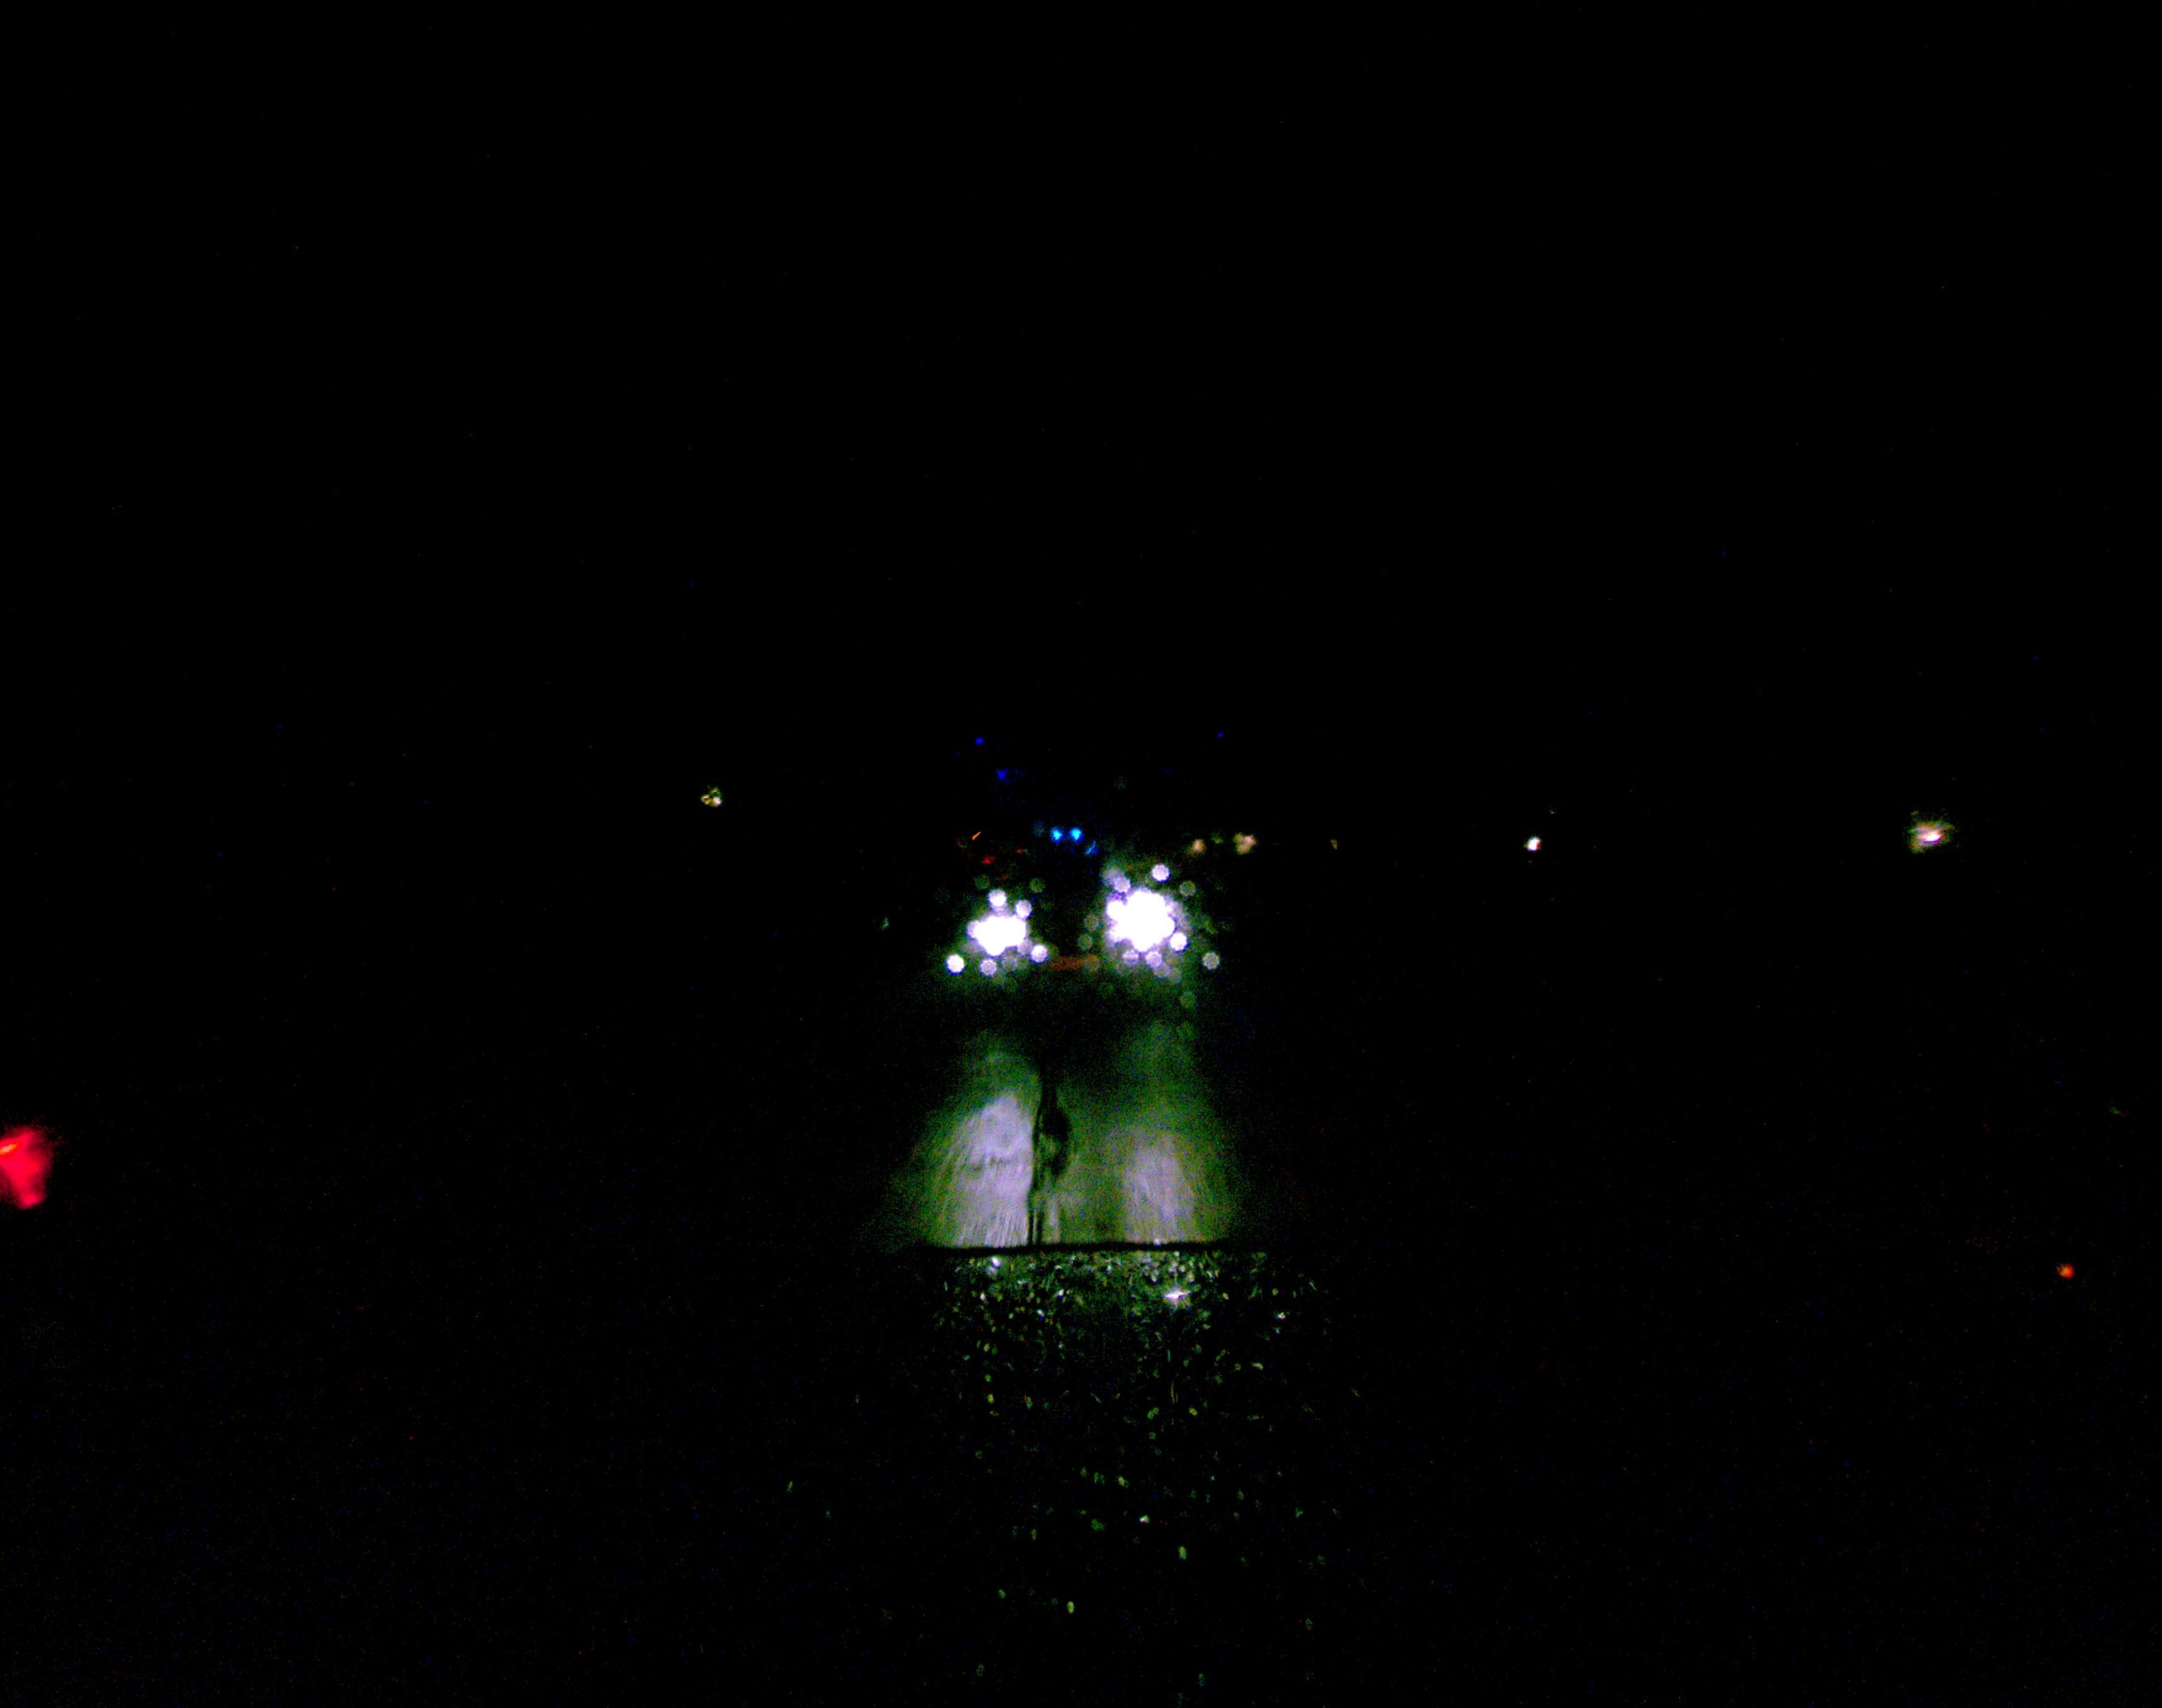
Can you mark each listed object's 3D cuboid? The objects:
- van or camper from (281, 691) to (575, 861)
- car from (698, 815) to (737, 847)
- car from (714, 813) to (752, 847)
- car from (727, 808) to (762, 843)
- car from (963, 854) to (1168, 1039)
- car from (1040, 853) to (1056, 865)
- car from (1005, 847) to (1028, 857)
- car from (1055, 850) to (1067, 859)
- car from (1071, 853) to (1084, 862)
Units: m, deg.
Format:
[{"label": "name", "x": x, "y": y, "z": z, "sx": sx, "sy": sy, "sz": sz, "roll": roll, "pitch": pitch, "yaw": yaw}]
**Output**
[{"label": "van or camper", "x": -12.728, "y": -1.321, "z": 15.514, "sx": 2.417, "sy": 2.777, "sz": 5.763, "roll": -3, "pitch": 1, "yaw": -18}, {"label": "car", "x": -24.998, "y": -1.544, "z": 52.406, "sx": 1.735, "sy": 2.002, "sz": 3.696, "roll": -3, "pitch": 1, "yaw": -16}, {"label": "car", "x": -26.391, "y": -1.753, "z": 57.737, "sx": 1.937, "sy": 2.406, "sz": 4.249, "roll": -3, "pitch": 1, "yaw": -16}, {"label": "car", "x": -27.838, "y": -2.314, "z": 62.959, "sx": 1.937, "sy": 2.759, "sz": 4.249, "roll": -3, "pitch": 1, "yaw": -16}, {"label": "car", "x": -0.111, "y": 0.856, "z": 9.200, "sx": 1.826, "sy": 1.573, "sz": 4.353, "roll": -2, "pitch": 1, "yaw": 1}, {"label": "car", "x": -5.973, "y": 0.873, "z": 137.156, "sx": 2.001, "sy": 2.002, "sz": 3.994, "roll": -3, "pitch": 1, "yaw": -18}, {"label": "car", "x": -12.831, "y": -0.417, "z": 151.500, "sx": 3.991, "sy": 1.687, "sz": 2.002, "roll": -2, "pitch": 1, "yaw": 19}, {"label": "car", "x": -4.691, "y": 0.011, "z": 180.167, "sx": 2.092, "sy": 2.002, "sz": 4.709, "roll": -2, "pitch": 1, "yaw": -10}, {"label": "car", "x": -0.681, "y": 0.688, "z": 142.234, "sx": 1.894, "sy": 1.559, "sz": 4.483, "roll": -2, "pitch": -1, "yaw": -8}]
